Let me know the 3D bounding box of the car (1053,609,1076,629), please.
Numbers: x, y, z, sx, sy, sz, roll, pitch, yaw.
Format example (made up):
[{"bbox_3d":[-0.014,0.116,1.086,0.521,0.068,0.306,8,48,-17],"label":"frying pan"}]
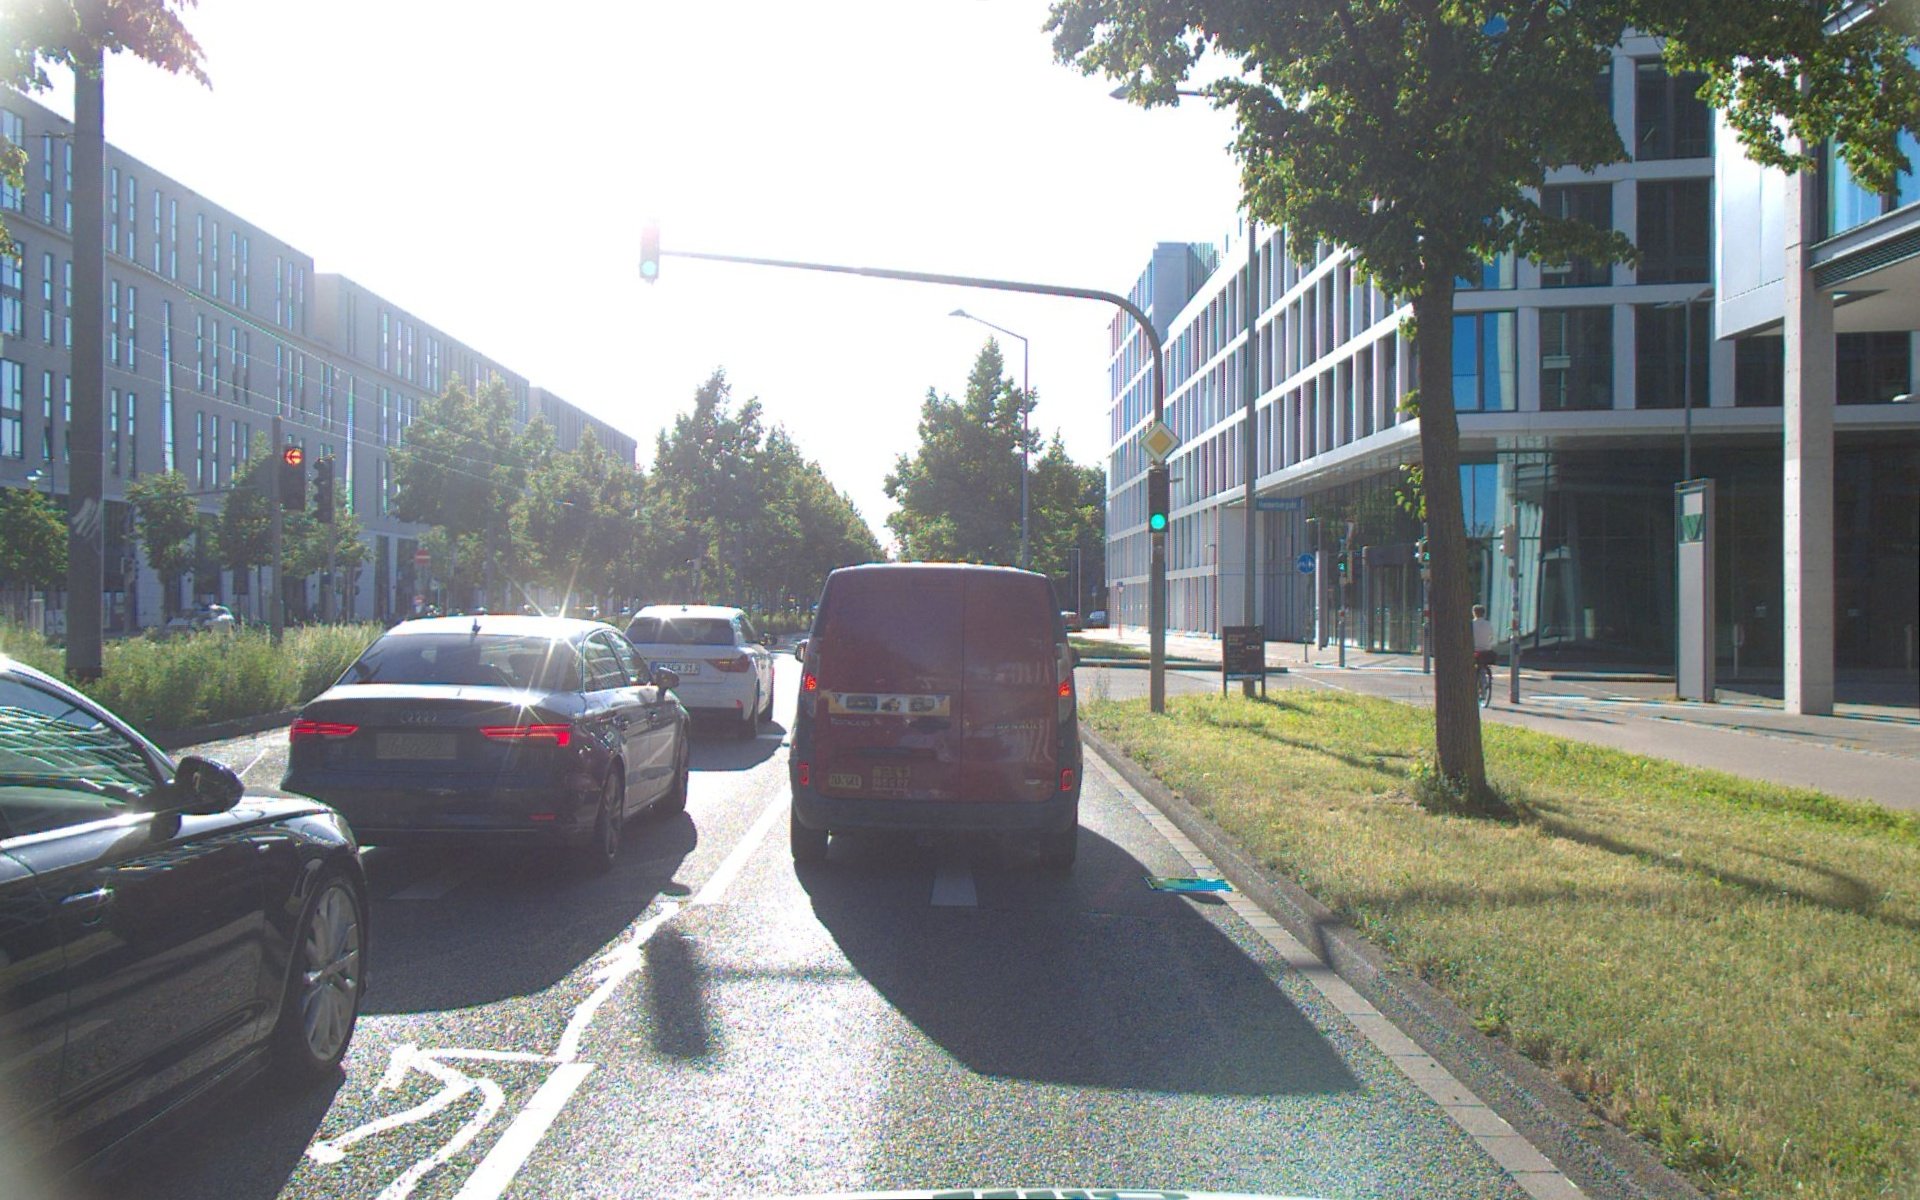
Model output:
[{"bbox_3d":[8.269,1.527,131.293,1.781,1.559,3.438,0,0,2],"label":"car"}]

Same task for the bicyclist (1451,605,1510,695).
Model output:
[{"bbox_3d":[9.121,0.860,29.028,0.756,1.558,0.849,0,0,-1],"label":"bicyclist"}]

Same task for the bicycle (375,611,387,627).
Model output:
[{"bbox_3d":[-40.699,1.357,116.302,0.519,1.130,1.633,1,-1,-12],"label":"bicycle"}]

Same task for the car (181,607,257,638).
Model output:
[{"bbox_3d":[-33.985,1.013,75.933,1.548,1.366,4.470,0,0,-1],"label":"car"}]

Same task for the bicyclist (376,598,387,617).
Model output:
[{"bbox_3d":[-40.672,0.555,116.303,0.568,1.316,0.703,1,-1,-11],"label":"bicyclist"}]

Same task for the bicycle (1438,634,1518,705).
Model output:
[{"bbox_3d":[9.096,1.203,29.125,0.726,1.194,1.960,-1,-1,-1],"label":"bicycle"}]

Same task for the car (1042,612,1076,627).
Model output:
[{"bbox_3d":[9.812,1.931,164.025,3.327,1.382,1.472,0,-1,5],"label":"car"}]

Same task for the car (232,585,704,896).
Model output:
[{"bbox_3d":[-2.788,0.712,10.367,1.771,1.554,4.112,0,0,-1],"label":"car"}]

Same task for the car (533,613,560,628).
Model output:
[{"bbox_3d":[-36.712,1.808,146.964,1.548,1.366,3.711,0,0,-1],"label":"car"}]

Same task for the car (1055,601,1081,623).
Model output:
[{"bbox_3d":[8.233,0.902,126.094,1.722,1.640,3.903,0,0,0],"label":"car"}]

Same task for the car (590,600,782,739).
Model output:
[{"bbox_3d":[-3.099,0.735,19.441,1.772,1.460,4.110,0,0,-3],"label":"car"}]

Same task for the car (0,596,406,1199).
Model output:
[{"bbox_3d":[-2.721,0.730,3.312,1.771,1.482,4.507,0,0,-1],"label":"car"}]

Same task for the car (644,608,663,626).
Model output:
[{"bbox_3d":[-36.419,2.001,196.660,1.694,2.049,3.997,0,0,-3],"label":"car"}]

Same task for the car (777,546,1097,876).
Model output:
[{"bbox_3d":[-0.128,0.623,11.270,1.771,1.826,4.112,0,0,0],"label":"car"}]

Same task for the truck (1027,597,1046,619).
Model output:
[{"bbox_3d":[9.077,0.943,196.955,1.794,2.545,5.930,1,-1,-1],"label":"truck"}]
